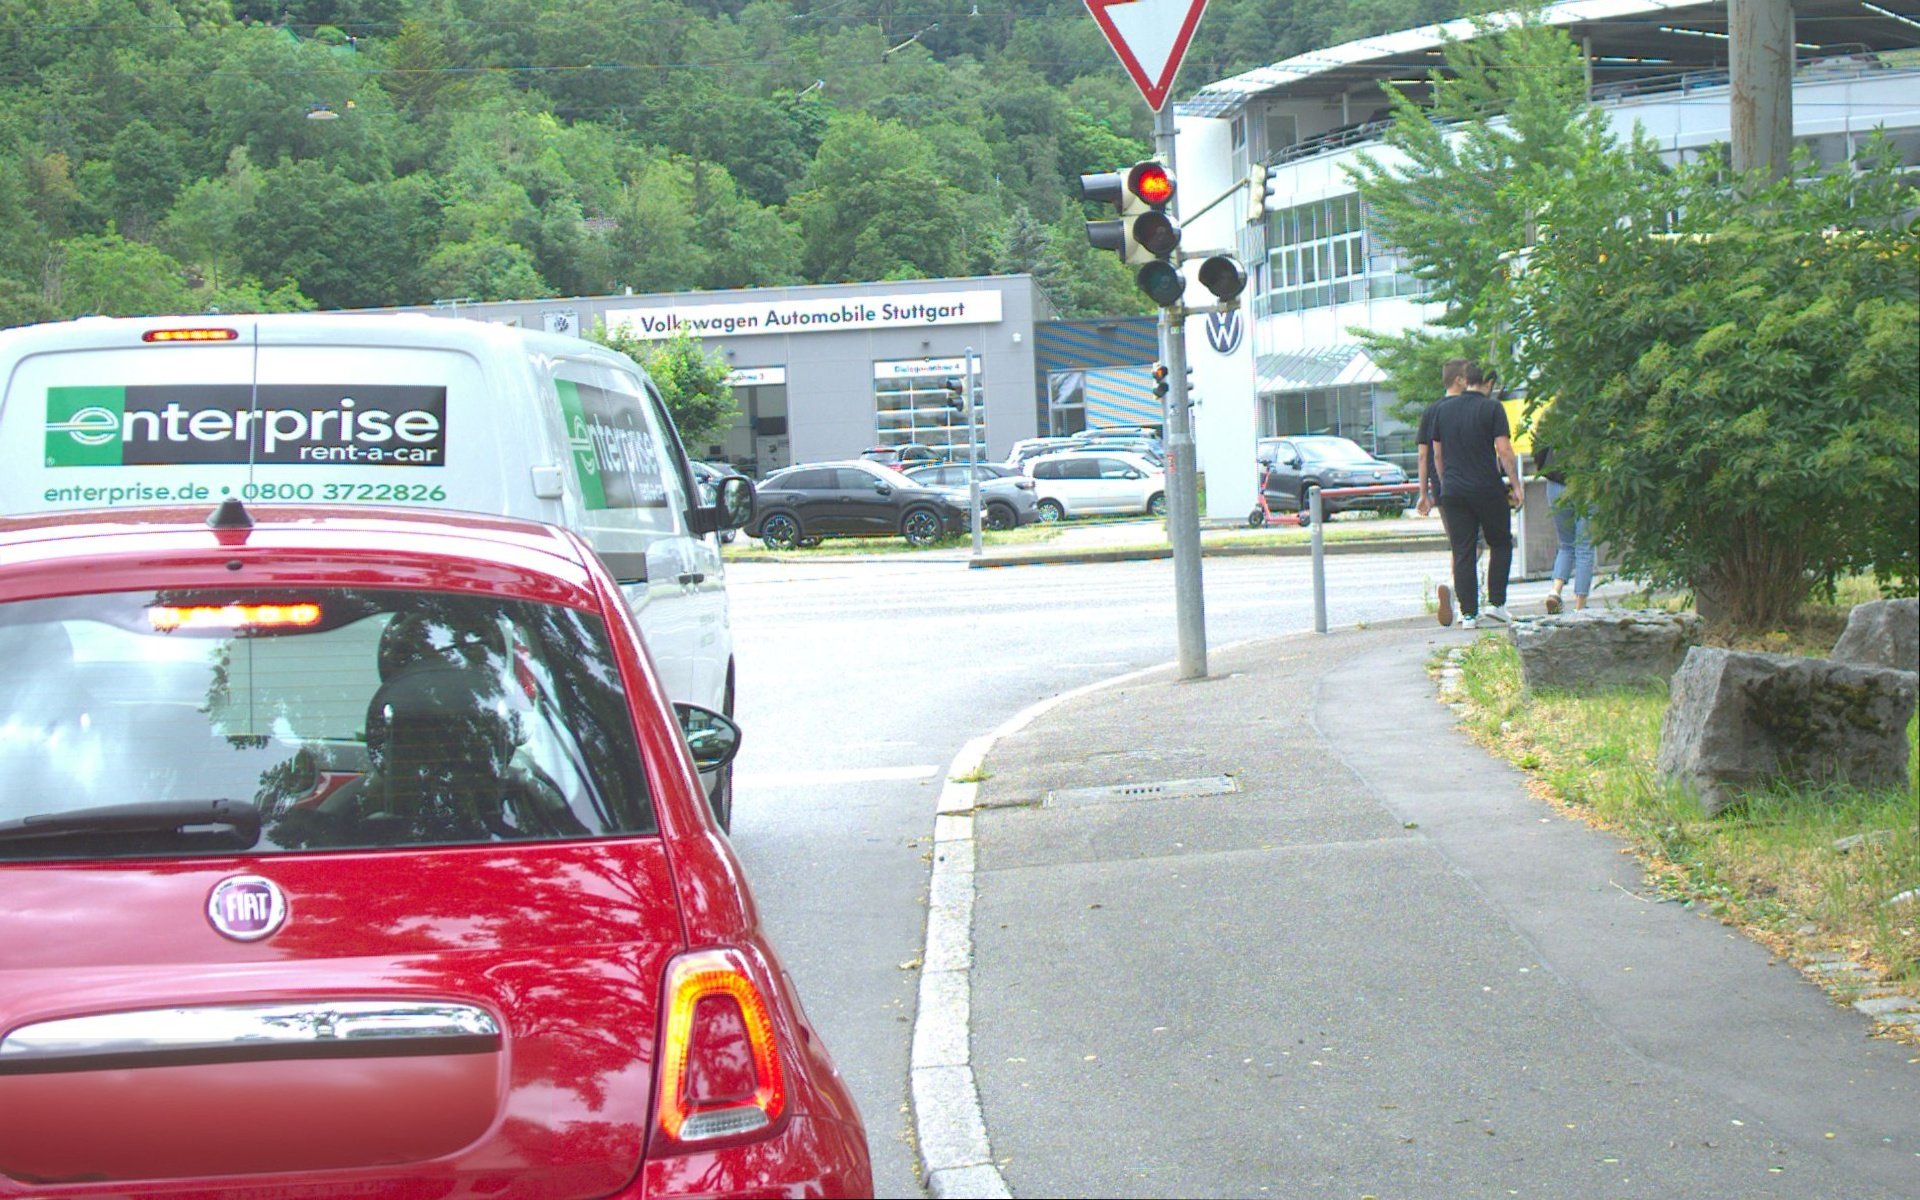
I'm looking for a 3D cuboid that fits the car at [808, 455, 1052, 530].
[{"bbox_3d":[-0.608,-2.208,70.513,4.674,1.323,1.775,-2,2,14],"label":"car"}]

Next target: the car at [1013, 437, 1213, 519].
[{"bbox_3d":[3.764,-3.003,84.606,4.796,1.796,1.776,-2,2,3],"label":"car"}]

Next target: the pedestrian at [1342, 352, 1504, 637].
[{"bbox_3d":[3.104,-0.709,23.032,0.694,1.850,0.787,-1,3,38],"label":"pedestrian"}]

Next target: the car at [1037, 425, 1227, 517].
[{"bbox_3d":[4.464,-3.363,89.520,4.796,2.149,2.234,-2,2,3],"label":"car"}]

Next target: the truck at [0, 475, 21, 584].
[{"bbox_3d":[-23.708,-1.444,76.136,5.183,2.385,2.000,-4,3,-28],"label":"truck"}]

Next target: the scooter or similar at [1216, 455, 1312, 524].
[{"bbox_3d":[5.516,-2.003,62.295,1.668,1.173,0.467,-2,2,7],"label":"scooter or similar"}]

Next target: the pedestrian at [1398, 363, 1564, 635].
[{"bbox_3d":[3.383,-0.656,22.294,0.694,1.708,0.787,-1,3,38],"label":"pedestrian"}]

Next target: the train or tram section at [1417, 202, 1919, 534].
[{"bbox_3d":[15.031,-3.135,43.651,19.108,3.653,3.279,-3,2,-22],"label":"train or tram section"}]

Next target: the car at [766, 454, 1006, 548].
[{"bbox_3d":[-1.312,-1.774,61.380,3.871,1.495,1.774,-2,2,17],"label":"car"}]

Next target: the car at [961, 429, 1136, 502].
[{"bbox_3d":[2.492,-3.760,96.200,4.796,1.796,1.776,-2,2,3],"label":"car"}]

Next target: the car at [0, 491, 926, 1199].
[{"bbox_3d":[-1.183,0.581,5.536,1.638,1.451,3.432,-2,2,-11],"label":"car"}]

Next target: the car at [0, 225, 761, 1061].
[{"bbox_3d":[-1.901,0.033,11.331,1.989,2.099,4.762,-3,2,2],"label":"car"}]

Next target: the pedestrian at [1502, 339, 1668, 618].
[{"bbox_3d":[3.998,-0.781,21.967,0.694,1.733,0.787,-1,3,37],"label":"pedestrian"}]

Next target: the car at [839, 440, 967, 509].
[{"bbox_3d":[-1.634,-3.653,99.553,1.996,1.809,3.995,-1,3,27],"label":"car"}]

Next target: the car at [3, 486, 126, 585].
[{"bbox_3d":[-17.776,-1.312,68.406,1.859,1.811,4.404,-3,2,-9],"label":"car"}]

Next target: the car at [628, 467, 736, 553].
[{"bbox_3d":[-6.348,-2.090,78.833,1.993,1.809,4.000,-3,2,1],"label":"car"}]

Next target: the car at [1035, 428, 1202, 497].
[{"bbox_3d":[4.664,-4.052,101.090,4.796,1.796,1.776,-2,2,3],"label":"car"}]

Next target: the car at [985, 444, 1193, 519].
[{"bbox_3d":[3.039,-2.799,81.063,4.796,1.528,1.776,-2,2,3],"label":"car"}]

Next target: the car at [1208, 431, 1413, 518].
[{"bbox_3d":[6.596,-2.355,65.105,1.770,1.495,3.881,-4,3,-33],"label":"car"}]
